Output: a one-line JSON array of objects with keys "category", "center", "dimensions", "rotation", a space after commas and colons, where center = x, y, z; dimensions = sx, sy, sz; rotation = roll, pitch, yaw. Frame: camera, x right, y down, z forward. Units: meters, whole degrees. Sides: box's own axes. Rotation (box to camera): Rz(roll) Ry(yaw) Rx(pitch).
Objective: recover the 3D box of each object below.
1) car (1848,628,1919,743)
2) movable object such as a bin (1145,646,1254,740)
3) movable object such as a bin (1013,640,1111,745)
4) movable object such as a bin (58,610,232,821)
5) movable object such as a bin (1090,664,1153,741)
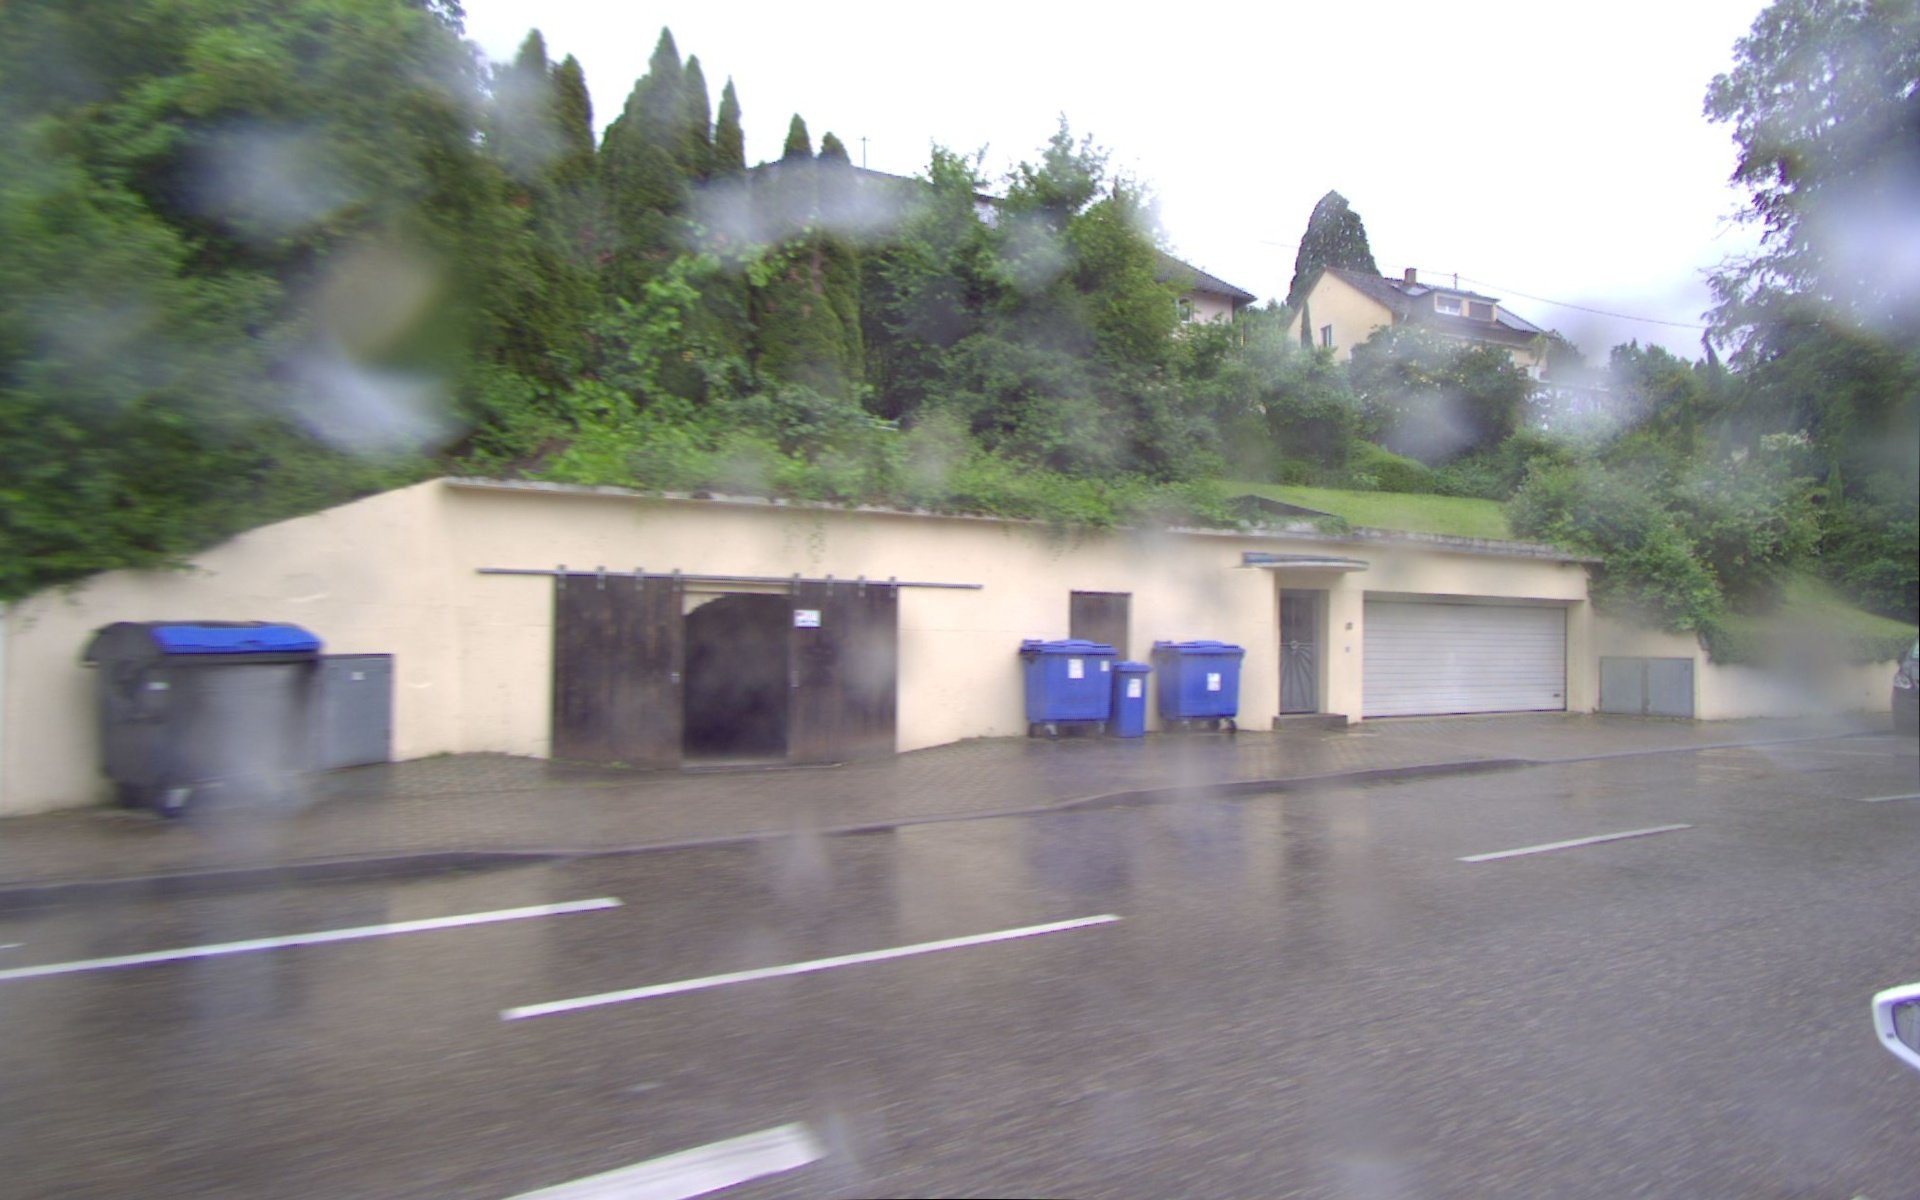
[{"category": "car", "center": [18.607, 1.515, 18.110], "dimensions": [5.257, 1.943, 2.151], "rotation": [2, -4, -28]}, {"category": "movable object such as a bin", "center": [3.578, 1.357, 15.024], "dimensions": [1.383, 1.332, 0.818], "rotation": [1, -2, -26]}, {"category": "movable object such as a bin", "center": [1.421, 1.262, 14.042], "dimensions": [1.119, 1.400, 0.818], "rotation": [1, -2, -26]}, {"category": "movable object such as a bin", "center": [-6.212, 0.840, 7.725], "dimensions": [0.852, 1.464, 0.928], "rotation": [3, 0, -31]}, {"category": "movable object such as a bin", "center": [2.324, 1.461, 14.491], "dimensions": [0.599, 1.056, 0.733], "rotation": [2, -2, -25]}]
